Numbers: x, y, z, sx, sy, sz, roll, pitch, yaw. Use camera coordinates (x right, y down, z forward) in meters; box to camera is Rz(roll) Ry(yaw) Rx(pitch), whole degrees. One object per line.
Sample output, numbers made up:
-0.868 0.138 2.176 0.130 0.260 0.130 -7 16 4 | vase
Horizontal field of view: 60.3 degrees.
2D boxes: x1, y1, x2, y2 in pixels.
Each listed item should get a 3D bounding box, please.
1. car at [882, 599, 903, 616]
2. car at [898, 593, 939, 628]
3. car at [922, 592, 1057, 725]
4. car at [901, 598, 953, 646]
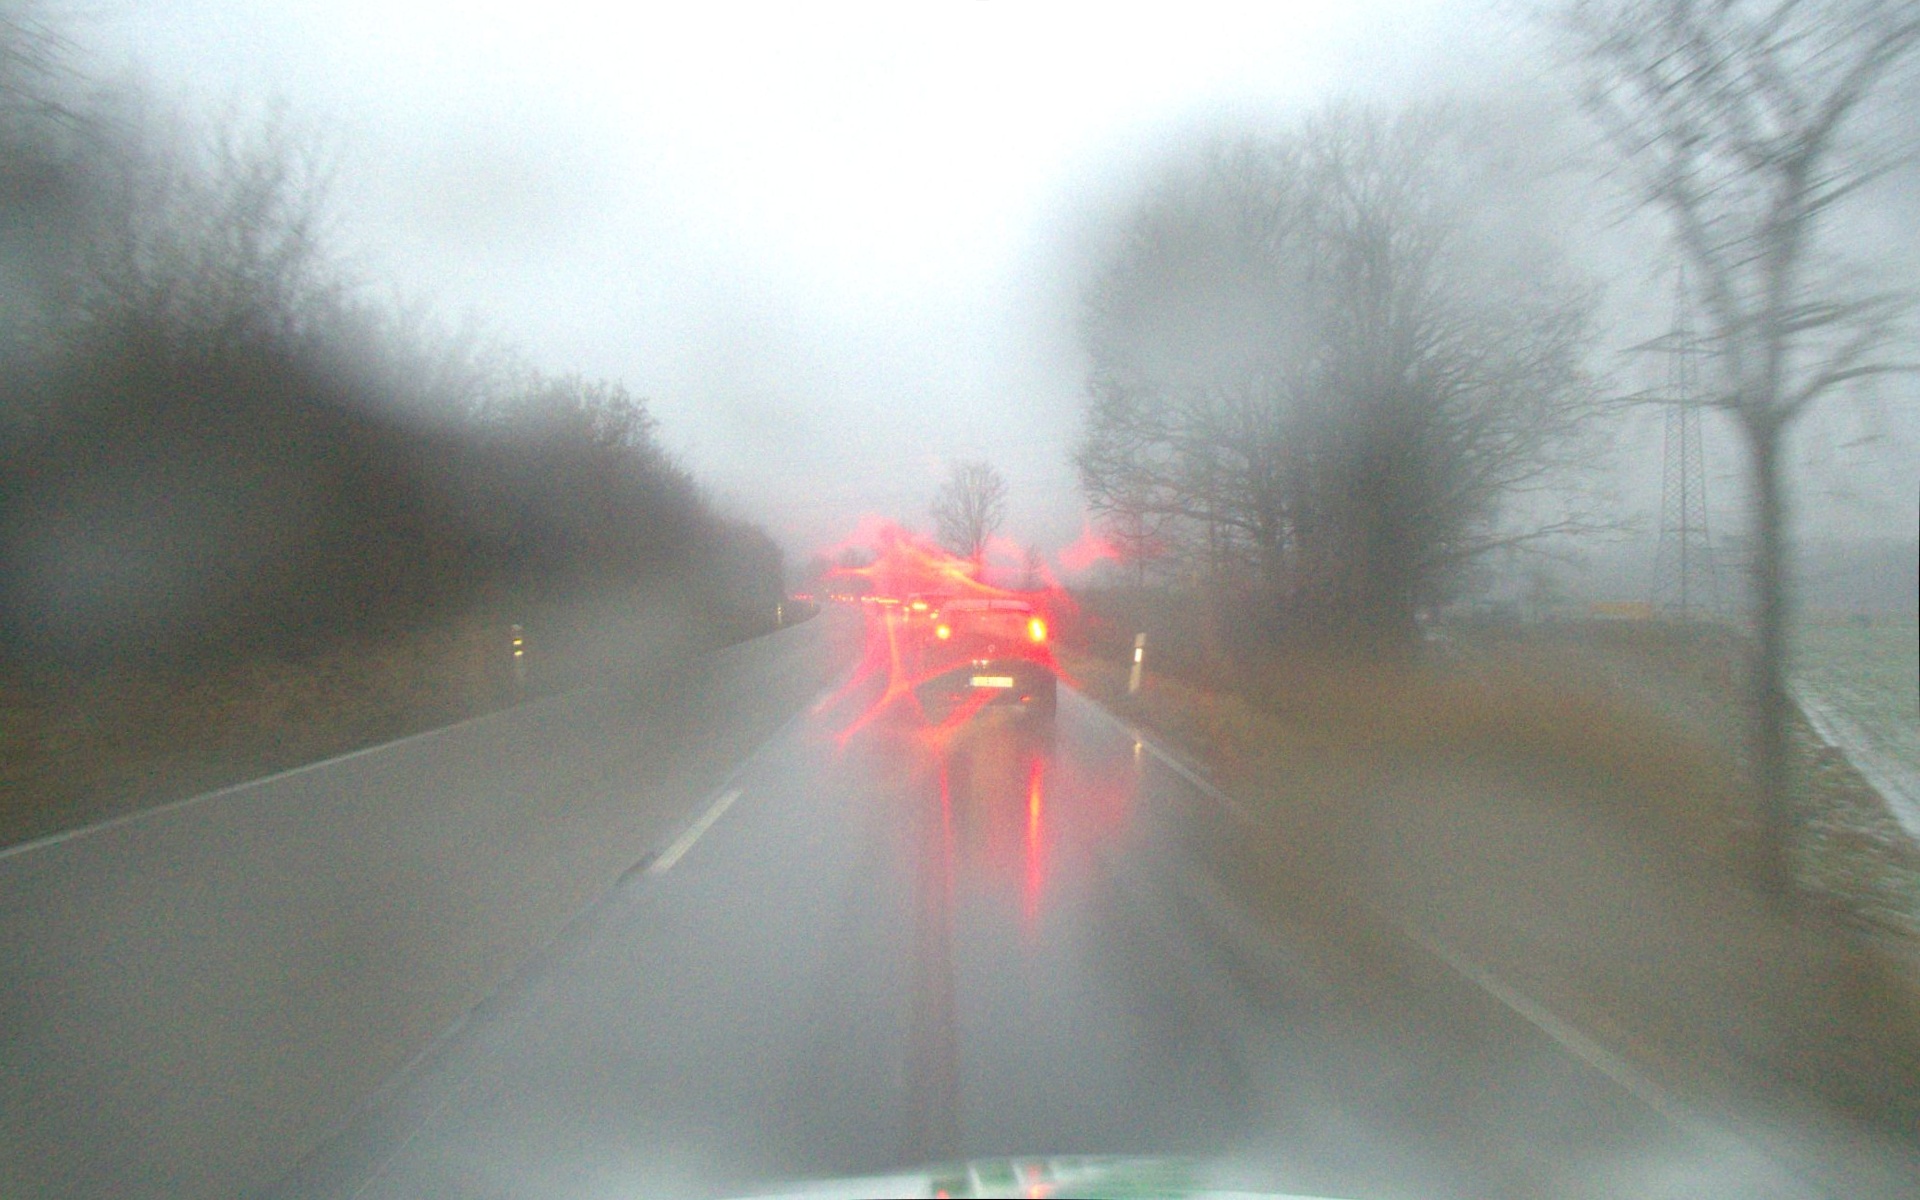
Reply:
-5.673 0.618 139.330 1.515 1.421 3.870 1 0 1 | car
-1.745 0.425 70.542 1.515 1.421 3.870 1 0 2 | car
0.440 0.689 21.533 1.569 1.549 3.871 1 0 3 | car
-0.989 0.658 51.174 1.515 1.421 3.869 1 0 0 | car
